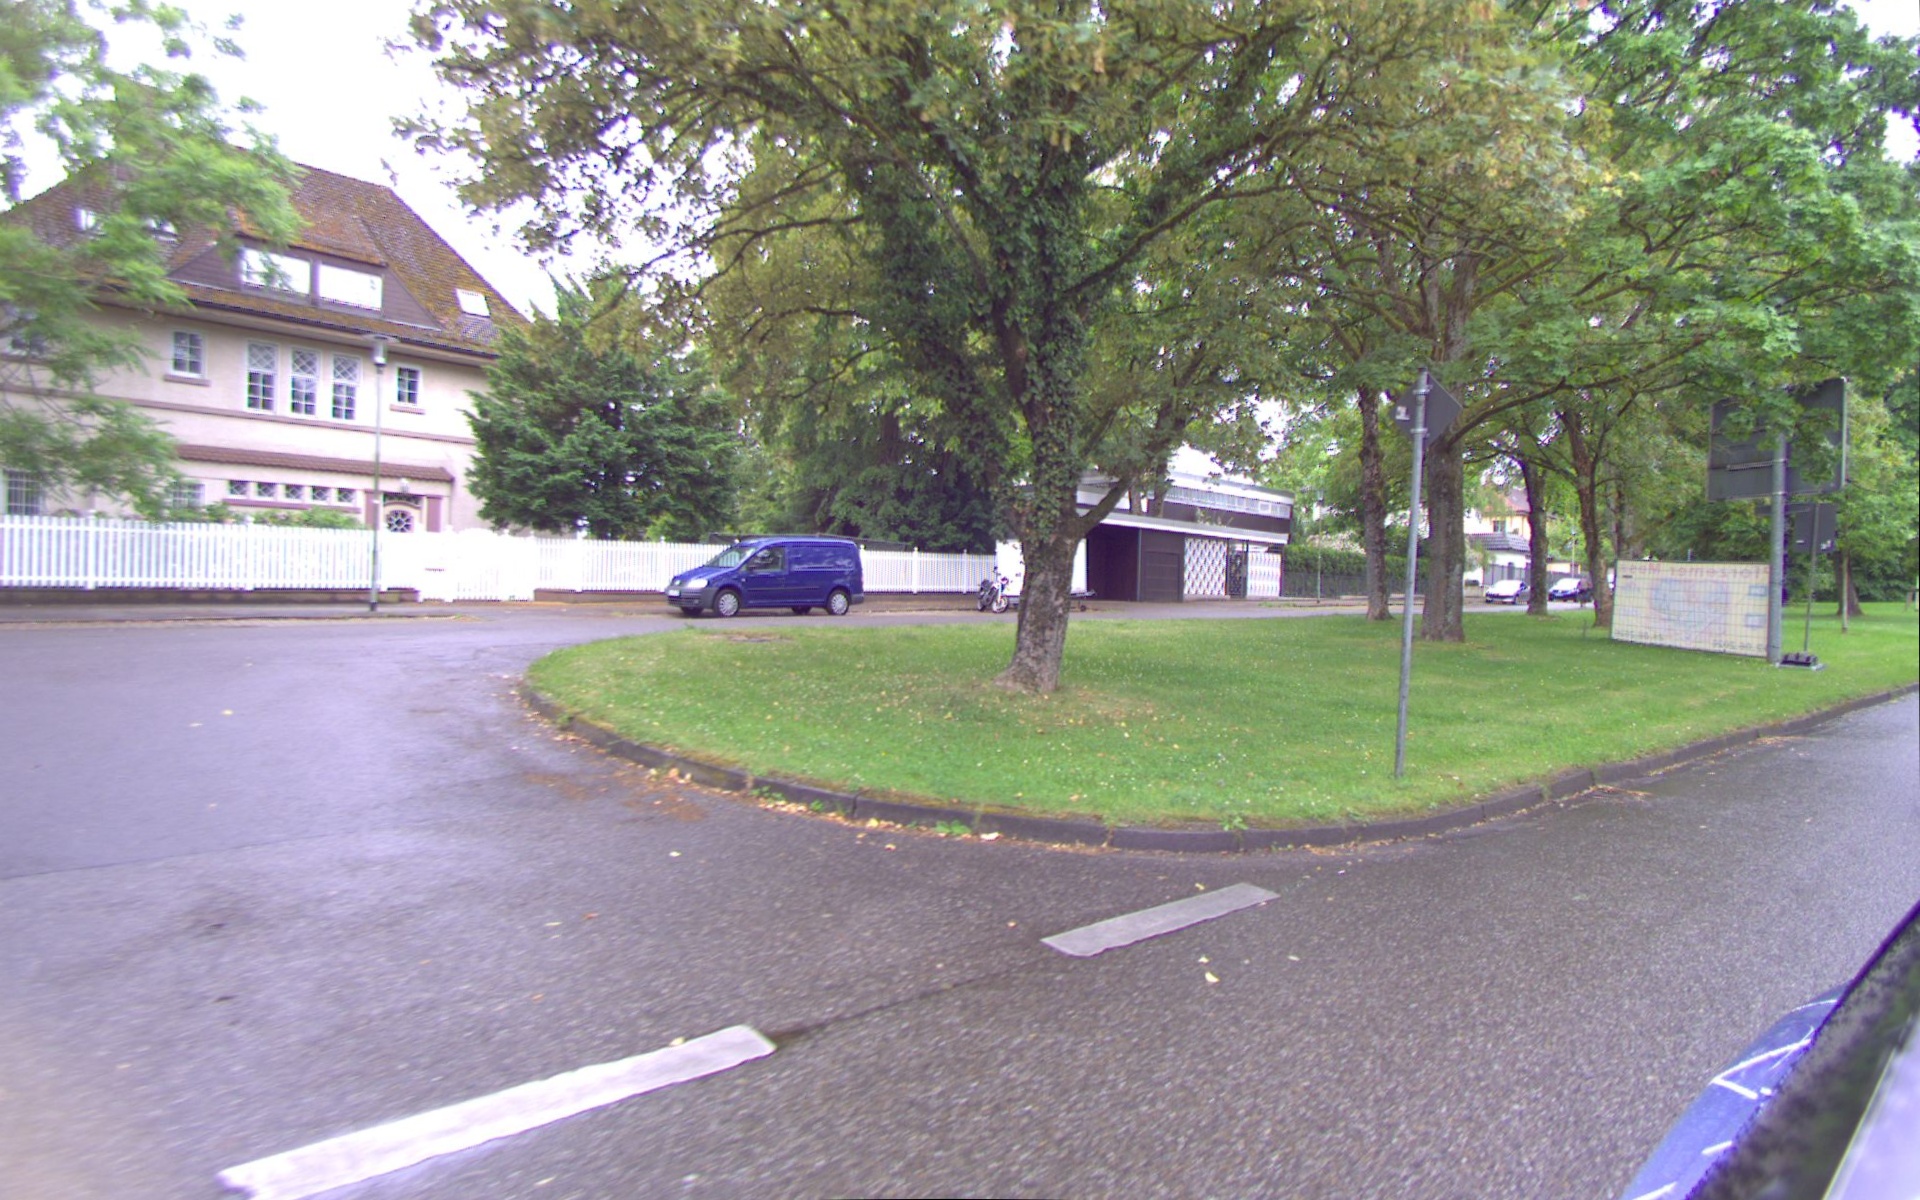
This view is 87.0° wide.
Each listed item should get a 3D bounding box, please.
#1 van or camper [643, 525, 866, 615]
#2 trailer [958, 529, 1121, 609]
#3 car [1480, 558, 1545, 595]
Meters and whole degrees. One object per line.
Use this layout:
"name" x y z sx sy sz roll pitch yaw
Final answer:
"van or camper" -4.582 -0.639 23.125 1.994 1.831 4.699 0 0 45
"trailer" 2.409 -0.850 29.571 5.106 2.143 1.768 -1 0 -43
"car" 31.933 -1.362 58.442 3.930 2.038 1.998 0 3 -41
